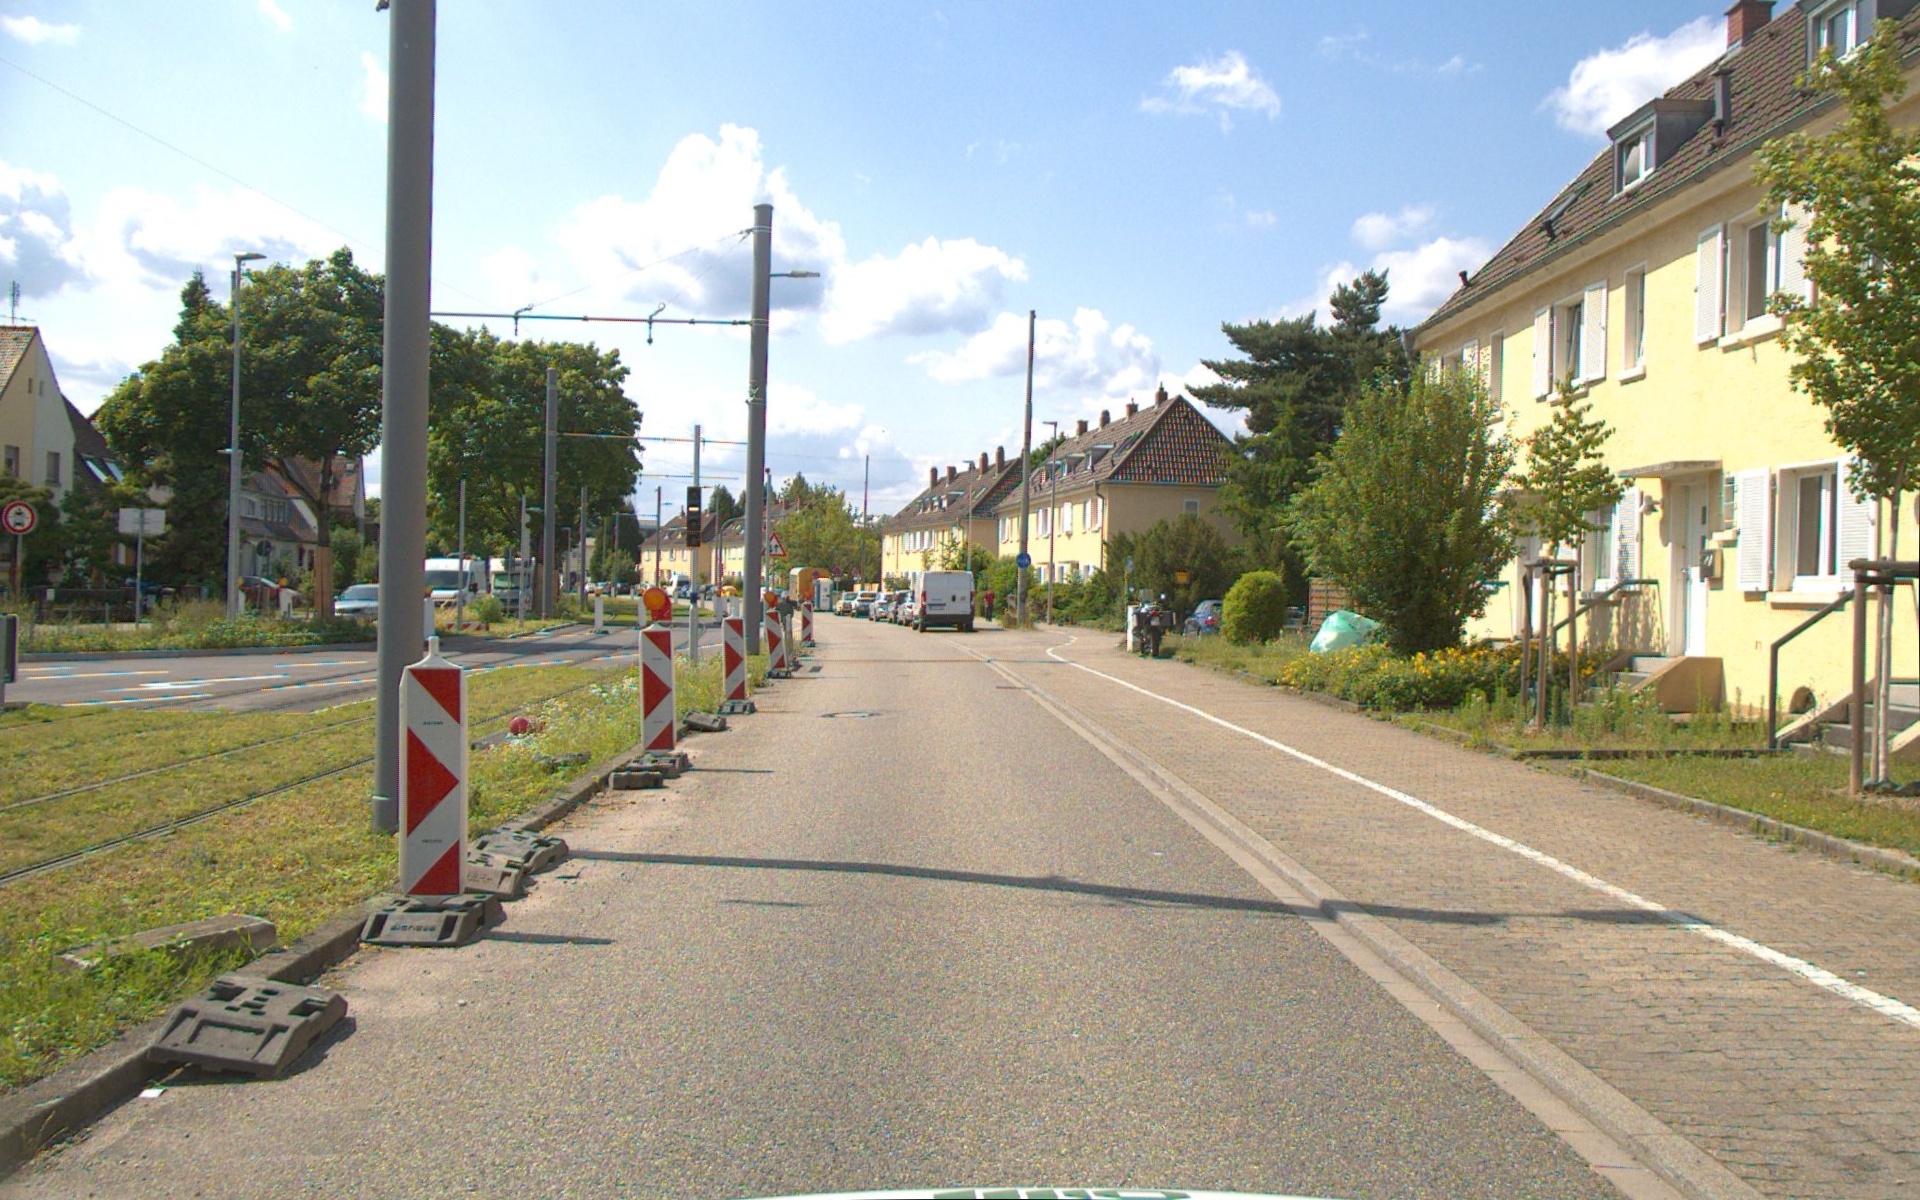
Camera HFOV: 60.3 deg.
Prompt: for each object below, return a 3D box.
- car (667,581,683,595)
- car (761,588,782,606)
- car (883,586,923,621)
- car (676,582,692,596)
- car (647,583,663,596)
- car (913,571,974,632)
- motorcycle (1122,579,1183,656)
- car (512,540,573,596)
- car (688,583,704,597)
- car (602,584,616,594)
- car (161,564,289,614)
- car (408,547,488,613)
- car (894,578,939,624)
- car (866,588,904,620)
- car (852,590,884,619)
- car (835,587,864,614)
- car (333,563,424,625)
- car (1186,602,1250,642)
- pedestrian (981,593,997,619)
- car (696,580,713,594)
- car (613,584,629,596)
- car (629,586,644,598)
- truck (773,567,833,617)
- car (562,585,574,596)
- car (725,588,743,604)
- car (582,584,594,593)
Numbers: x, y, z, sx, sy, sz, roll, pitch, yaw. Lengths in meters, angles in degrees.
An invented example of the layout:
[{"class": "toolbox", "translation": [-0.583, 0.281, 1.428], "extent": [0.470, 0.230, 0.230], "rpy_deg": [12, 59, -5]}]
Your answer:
[{"class": "car", "translation": [-31.221, -1.292, 181.254], "extent": [1.149, 1.451, 2.648], "rpy_deg": [1, 0, -22]}, {"class": "car", "translation": [-15.626, -0.289, 137.012], "extent": [1.238, 1.451, 2.652], "rpy_deg": [1, 0, -18]}, {"class": "car", "translation": [-2.697, 0.160, 77.642], "extent": [1.538, 1.578, 3.783], "rpy_deg": [1, 0, -8]}, {"class": "car", "translation": [-29.603, -1.157, 177.104], "extent": [1.149, 1.451, 2.648], "rpy_deg": [1, 0, -22]}, {"class": "car", "translation": [-35.342, -1.260, 191.581], "extent": [1.240, 1.451, 2.647], "rpy_deg": [1, 0, -22]}, {"class": "car", "translation": [-0.665, 0.045, 62.868], "extent": [2.024, 2.186, 4.875], "rpy_deg": [1, 0, -4]}, {"class": "motorcycle", "translation": [4.278, 0.375, 36.932], "extent": [1.045, 1.664, 2.083], "rpy_deg": [1, 0, -2]}, {"class": "car", "translation": [-18.943, -1.438, 75.205], "extent": [2.364, 2.411, 4.866], "rpy_deg": [1, 1, -11]}, {"class": "car", "translation": [-27.605, -1.038, 172.901], "extent": [1.239, 1.374, 2.649], "rpy_deg": [1, 0, -21]}, {"class": "car", "translation": [-44.857, -1.396, 211.164], "extent": [1.241, 1.162, 2.645], "rpy_deg": [1, 0, -25]}, {"class": "car", "translation": [-28.459, -0.424, 64.147], "extent": [4.027, 1.807, 2.099], "rpy_deg": [1, 0, -5]}, {"class": "car", "translation": [-19.469, -0.758, 63.101], "extent": [2.364, 2.379, 4.866], "rpy_deg": [1, 0, -11]}, {"class": "car", "translation": [-1.927, 0.035, 72.379], "extent": [1.538, 1.930, 3.783], "rpy_deg": [1, 0, -8]}, {"class": "car", "translation": [-3.786, 0.188, 83.157], "extent": [1.538, 1.578, 3.783], "rpy_deg": [1, 0, -8]}, {"class": "car", "translation": [-5.295, 0.250, 94.936], "extent": [1.538, 1.578, 3.473], "rpy_deg": [1, 0, -8]}, {"class": "car", "translation": [-6.808, 0.033, 101.300], "extent": [1.538, 1.578, 3.473], "rpy_deg": [1, 0, -8]}, {"class": "car", "translation": [-17.995, -0.182, 51.354], "extent": [2.057, 1.807, 4.110], "rpy_deg": [1, 0, -11]}, {"class": "car", "translation": [7.278, 0.602, 46.837], "extent": [1.285, 1.047, 2.768], "rpy_deg": [1, 0, -2]}, {"class": "pedestrian", "translation": [1.416, 0.292, 80.903], "extent": [0.620, 1.277, 0.725], "rpy_deg": [1, 0, -10]}, {"class": "car", "translation": [-26.107, -1.347, 169.068], "extent": [1.239, 1.374, 2.649], "rpy_deg": [1, 0, -21]}, {"class": "car", "translation": [-42.115, -1.217, 205.551], "extent": [1.243, 1.451, 2.640], "rpy_deg": [1, 0, -28]}, {"class": "car", "translation": [-38.888, -0.955, 198.662], "extent": [1.241, 1.451, 2.645], "rpy_deg": [1, 0, -25]}, {"class": "truck", "translation": [-11.913, -0.633, 124.845], "extent": [2.599, 3.555, 9.392], "rpy_deg": [1, 0, -17]}, {"class": "car", "translation": [-54.291, -1.363, 229.106], "extent": [1.240, 1.451, 2.648], "rpy_deg": [1, 0, -22]}, {"class": "car", "translation": [-21.516, -0.398, 157.262], "extent": [1.238, 1.451, 2.651], "rpy_deg": [1, 0, -19]}, {"class": "car", "translation": [-49.509, -1.493, 220.269], "extent": [1.239, 1.207, 2.650], "rpy_deg": [1, 0, -20]}]
